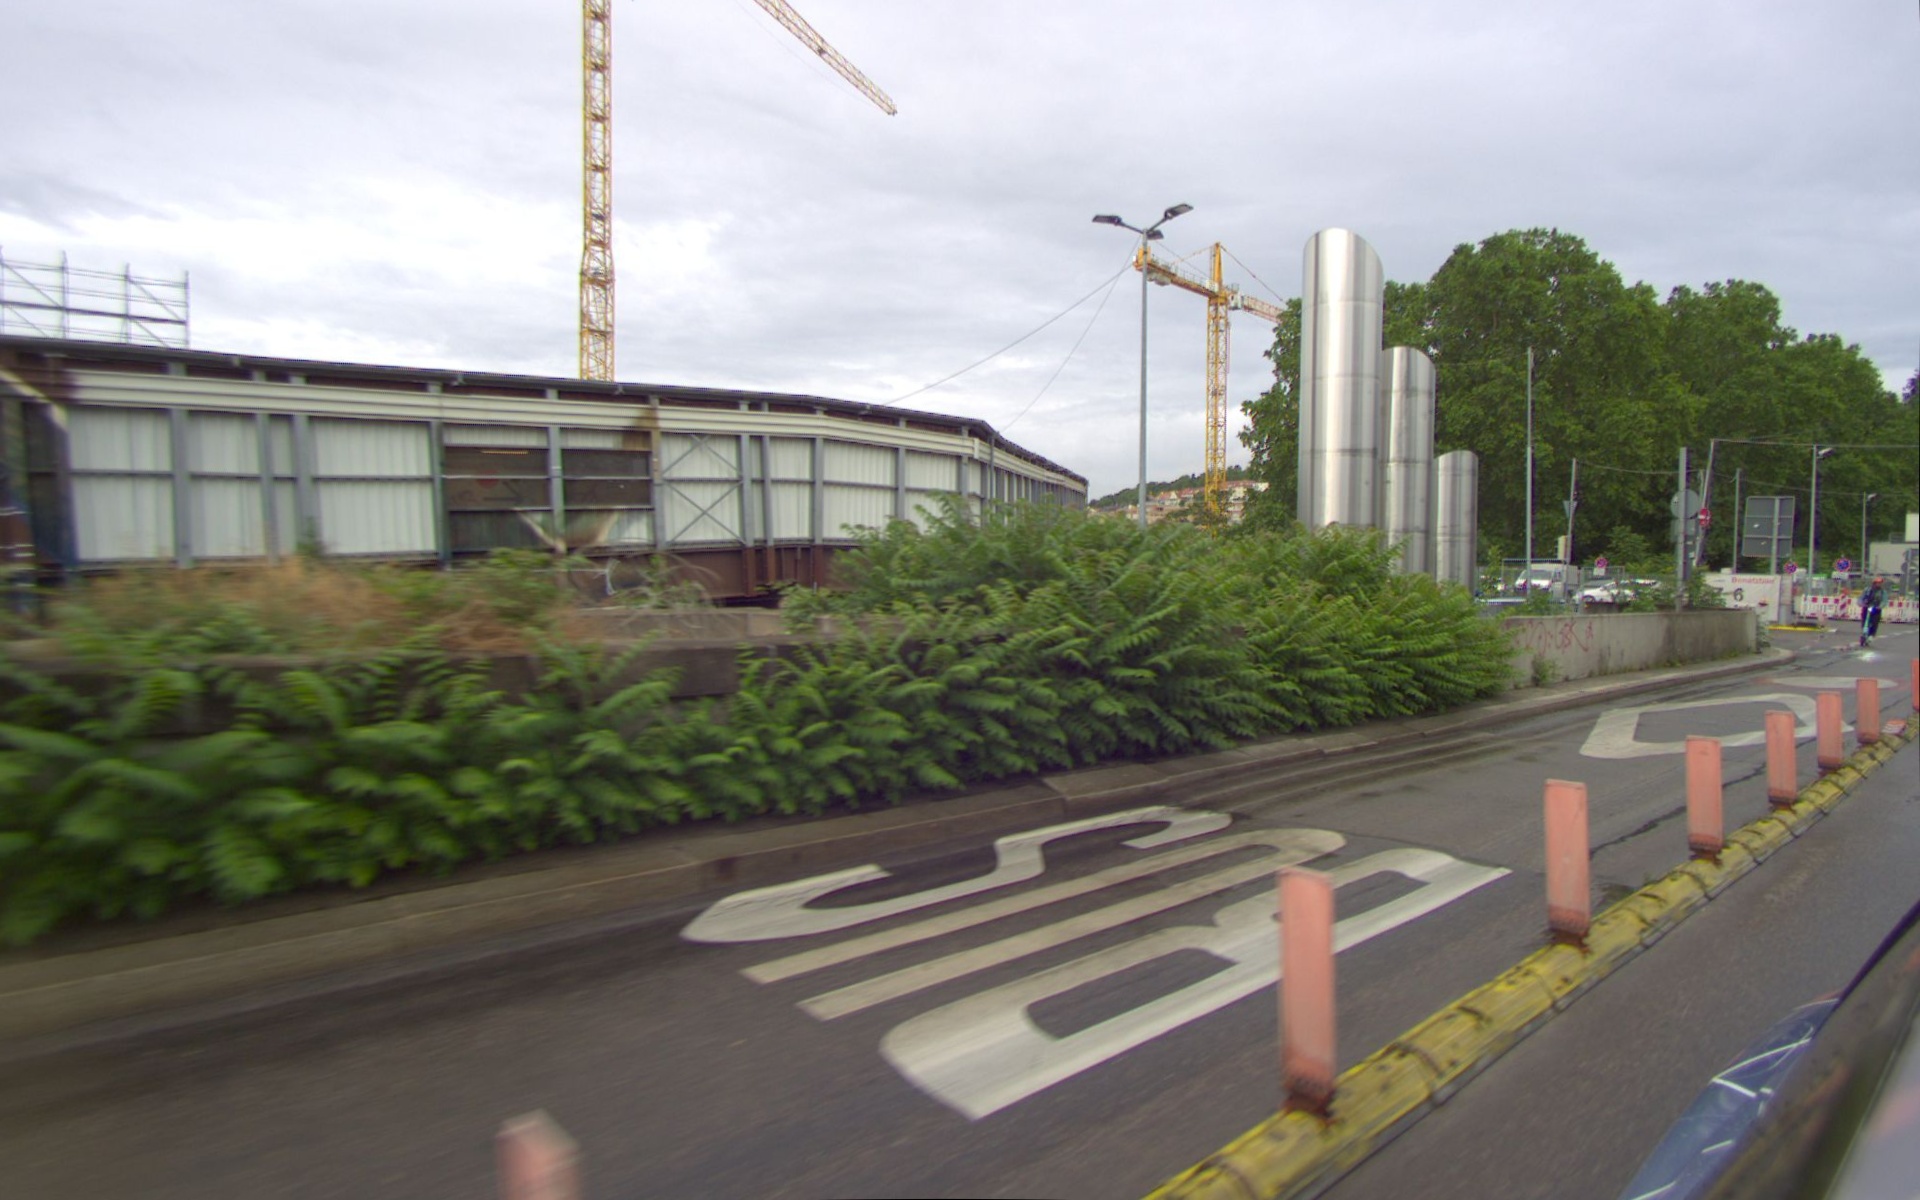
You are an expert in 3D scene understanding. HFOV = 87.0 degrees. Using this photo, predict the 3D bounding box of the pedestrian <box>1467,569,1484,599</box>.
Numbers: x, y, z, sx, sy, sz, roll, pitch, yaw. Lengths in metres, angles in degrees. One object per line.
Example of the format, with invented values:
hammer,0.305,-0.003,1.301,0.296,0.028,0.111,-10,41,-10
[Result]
pedestrian,27.953,-0.849,54.902,0.650,1.594,0.653,3,1,42

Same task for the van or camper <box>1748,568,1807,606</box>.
van or camper,46.691,-0.734,57.766,2.118,2.054,4.933,3,2,44

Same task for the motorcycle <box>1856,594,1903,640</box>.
motorcycle,26.659,0.474,29.331,2.123,1.244,0.729,0,2,-41

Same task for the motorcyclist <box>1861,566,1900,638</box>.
motorcyclist,26.658,0.053,29.309,0.577,2.061,0.725,1,1,-41

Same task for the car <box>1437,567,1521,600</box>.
car,28.566,-0.908,55.769,3.716,1.657,1.970,3,2,42

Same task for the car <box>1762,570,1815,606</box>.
car,50.778,-0.715,62.023,4.120,2.092,1.996,0,2,-44
